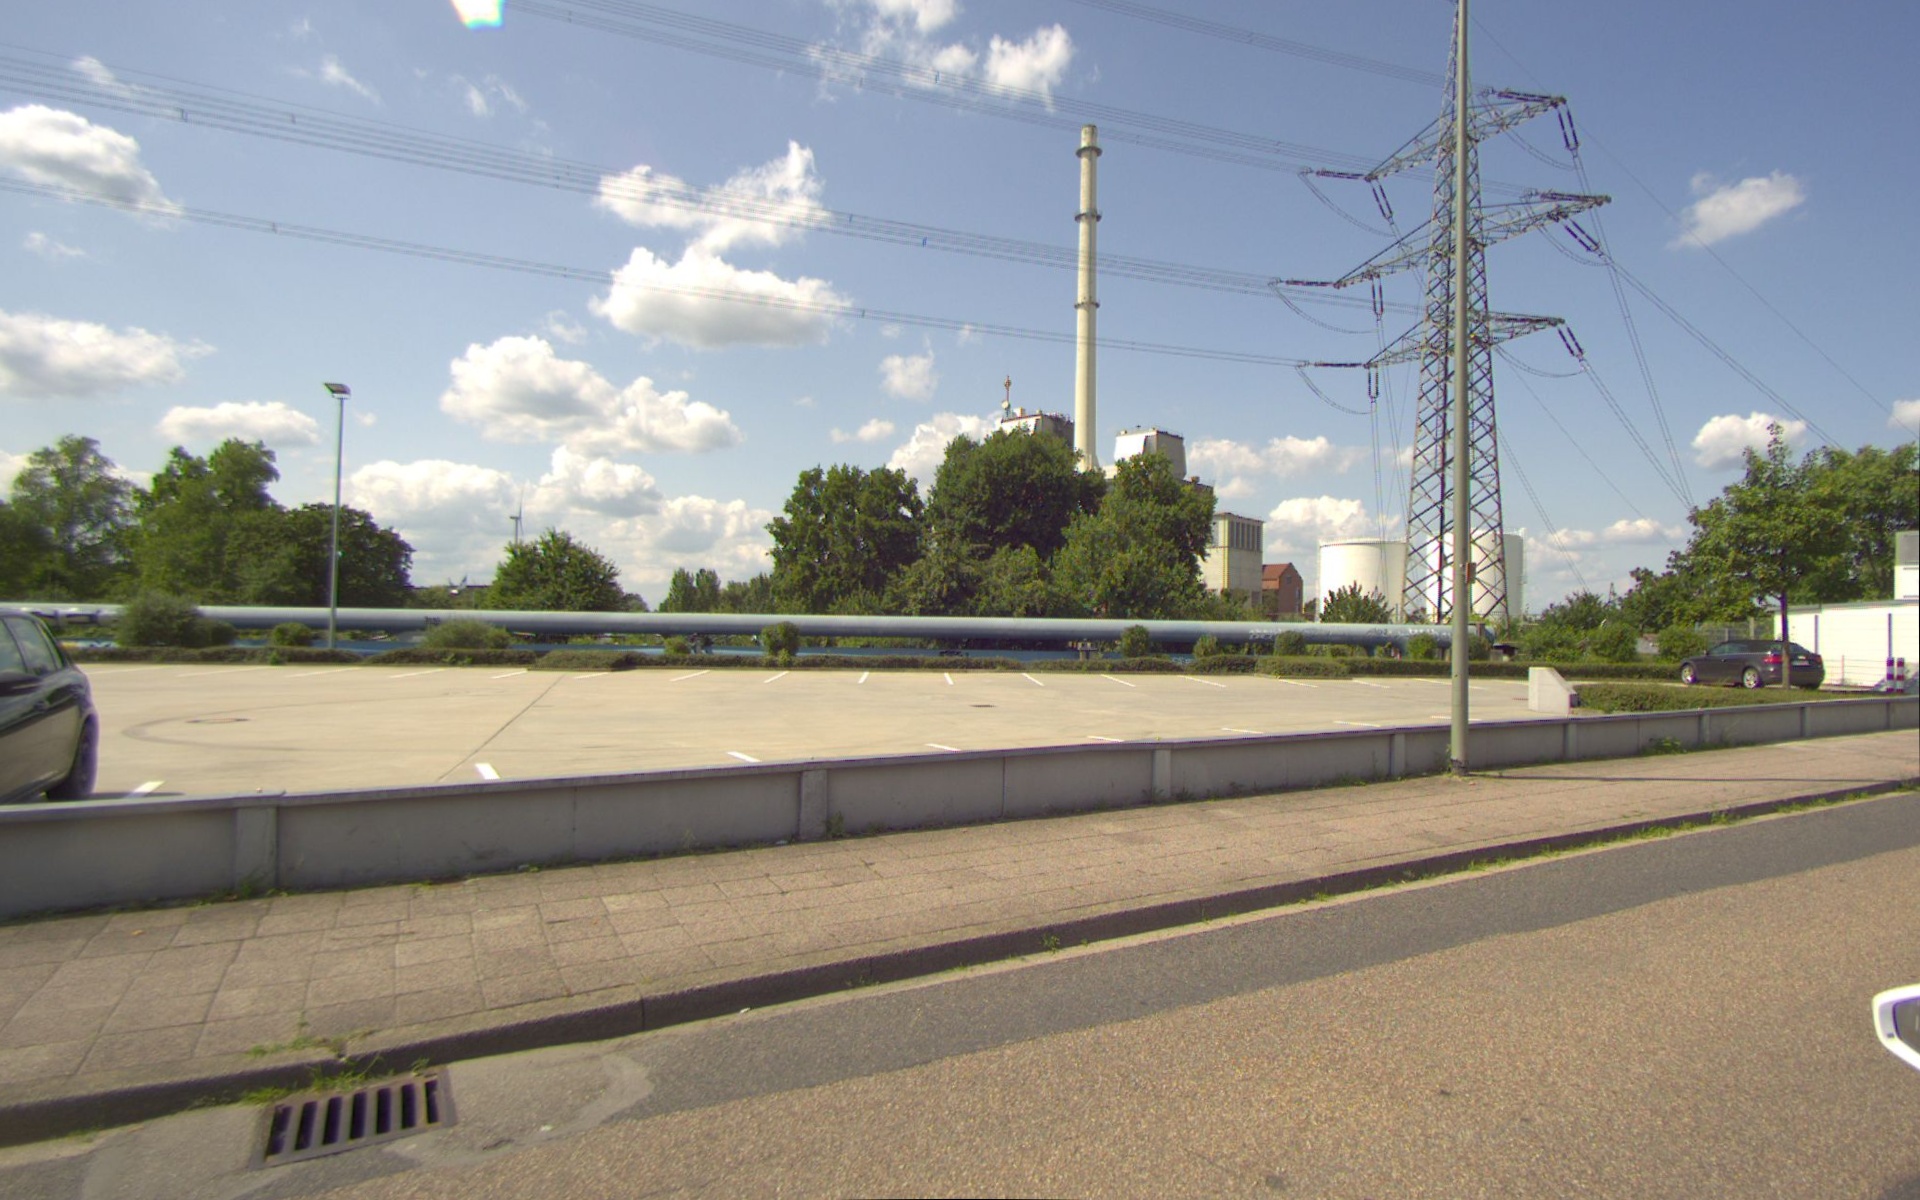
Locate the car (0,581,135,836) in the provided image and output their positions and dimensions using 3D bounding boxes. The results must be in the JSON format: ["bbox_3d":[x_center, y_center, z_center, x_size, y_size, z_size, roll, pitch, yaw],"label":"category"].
[{"bbox_3d":[-6.529,0.594,5.981,1.782,1.394,3.969,2,-2,-29],"label":"car"}]

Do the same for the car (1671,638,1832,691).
[{"bbox_3d":[22.925,1.840,29.302,1.767,1.396,4.002,1,-2,4],"label":"car"}]
